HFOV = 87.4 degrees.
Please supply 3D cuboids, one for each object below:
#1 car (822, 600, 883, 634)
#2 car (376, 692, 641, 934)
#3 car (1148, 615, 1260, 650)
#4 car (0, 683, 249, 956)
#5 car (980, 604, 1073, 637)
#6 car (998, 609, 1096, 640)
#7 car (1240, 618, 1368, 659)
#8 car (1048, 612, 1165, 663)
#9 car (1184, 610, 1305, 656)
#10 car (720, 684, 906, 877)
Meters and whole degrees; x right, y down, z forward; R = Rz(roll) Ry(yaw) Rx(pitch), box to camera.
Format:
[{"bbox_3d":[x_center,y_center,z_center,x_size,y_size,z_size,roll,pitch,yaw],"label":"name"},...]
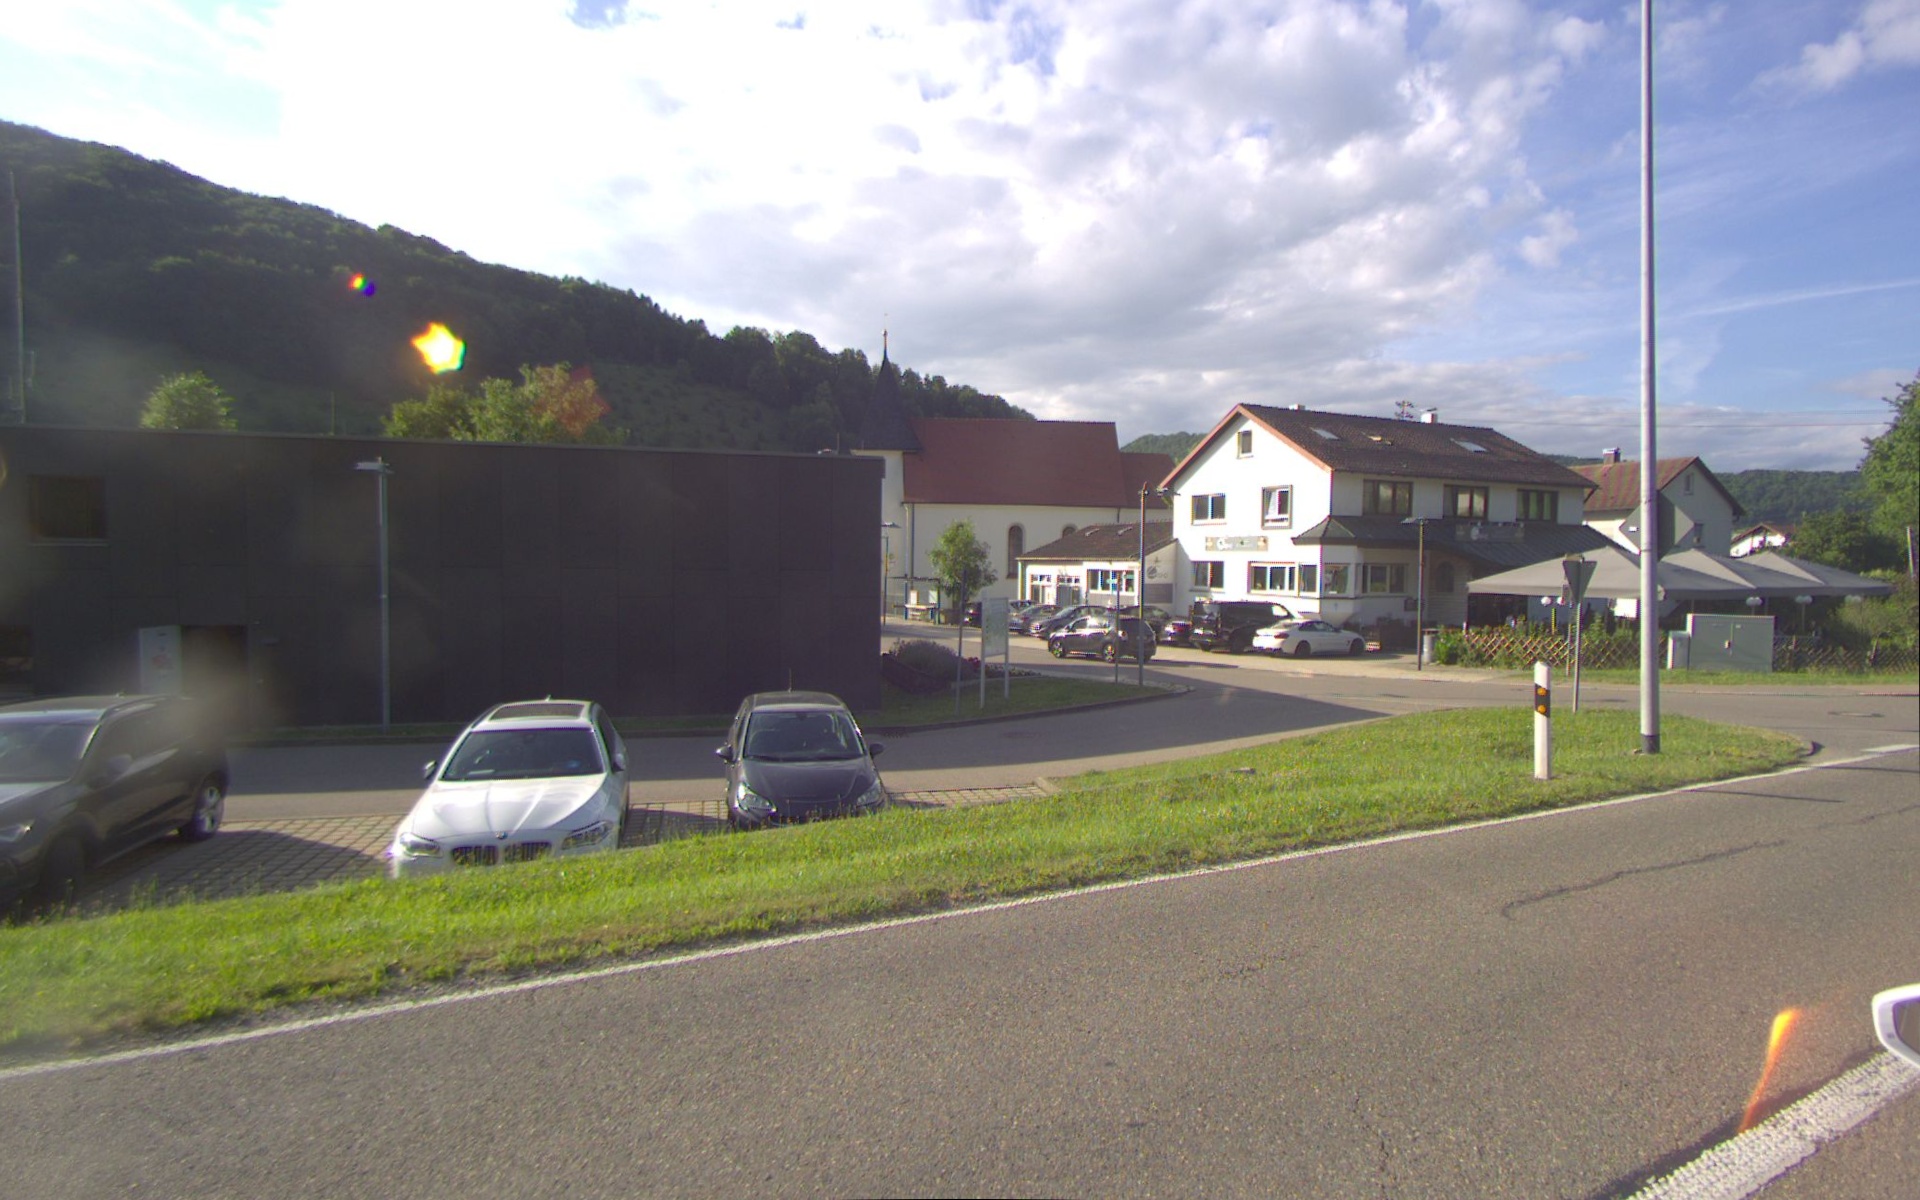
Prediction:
[{"bbox_3d":[-5.598,0.875,51.995,1.763,1.706,3.970,1,-1,-29],"label":"car"},{"bbox_3d":[-4.353,1.908,10.429,1.882,1.517,4.638,0,-1,-16],"label":"car"},{"bbox_3d":[10.341,1.353,42.544,4.520,1.408,1.985,1,-1,-29],"label":"car"},{"bbox_3d":[-8.647,1.846,9.489,1.882,1.660,4.280,0,1,-17],"label":"car"},{"bbox_3d":[3.501,1.087,52.818,4.520,1.665,1.985,1,-1,-29],"label":"car"},{"bbox_3d":[4.303,1.197,49.569,4.520,1.431,1.985,1,-1,-29],"label":"car"},{"bbox_3d":[12.769,1.400,37.257,4.520,1.408,1.985,1,-1,-29],"label":"car"},{"bbox_3d":[5.142,1.287,35.694,1.874,1.706,3.959,1,-1,-36],"label":"car"},{"bbox_3d":[11.174,1.271,39.419,4.520,1.708,1.985,1,-1,-29],"label":"car"},{"bbox_3d":[-1.876,1.909,11.800,1.802,1.555,3.990,0,-1,-13],"label":"car"}]
